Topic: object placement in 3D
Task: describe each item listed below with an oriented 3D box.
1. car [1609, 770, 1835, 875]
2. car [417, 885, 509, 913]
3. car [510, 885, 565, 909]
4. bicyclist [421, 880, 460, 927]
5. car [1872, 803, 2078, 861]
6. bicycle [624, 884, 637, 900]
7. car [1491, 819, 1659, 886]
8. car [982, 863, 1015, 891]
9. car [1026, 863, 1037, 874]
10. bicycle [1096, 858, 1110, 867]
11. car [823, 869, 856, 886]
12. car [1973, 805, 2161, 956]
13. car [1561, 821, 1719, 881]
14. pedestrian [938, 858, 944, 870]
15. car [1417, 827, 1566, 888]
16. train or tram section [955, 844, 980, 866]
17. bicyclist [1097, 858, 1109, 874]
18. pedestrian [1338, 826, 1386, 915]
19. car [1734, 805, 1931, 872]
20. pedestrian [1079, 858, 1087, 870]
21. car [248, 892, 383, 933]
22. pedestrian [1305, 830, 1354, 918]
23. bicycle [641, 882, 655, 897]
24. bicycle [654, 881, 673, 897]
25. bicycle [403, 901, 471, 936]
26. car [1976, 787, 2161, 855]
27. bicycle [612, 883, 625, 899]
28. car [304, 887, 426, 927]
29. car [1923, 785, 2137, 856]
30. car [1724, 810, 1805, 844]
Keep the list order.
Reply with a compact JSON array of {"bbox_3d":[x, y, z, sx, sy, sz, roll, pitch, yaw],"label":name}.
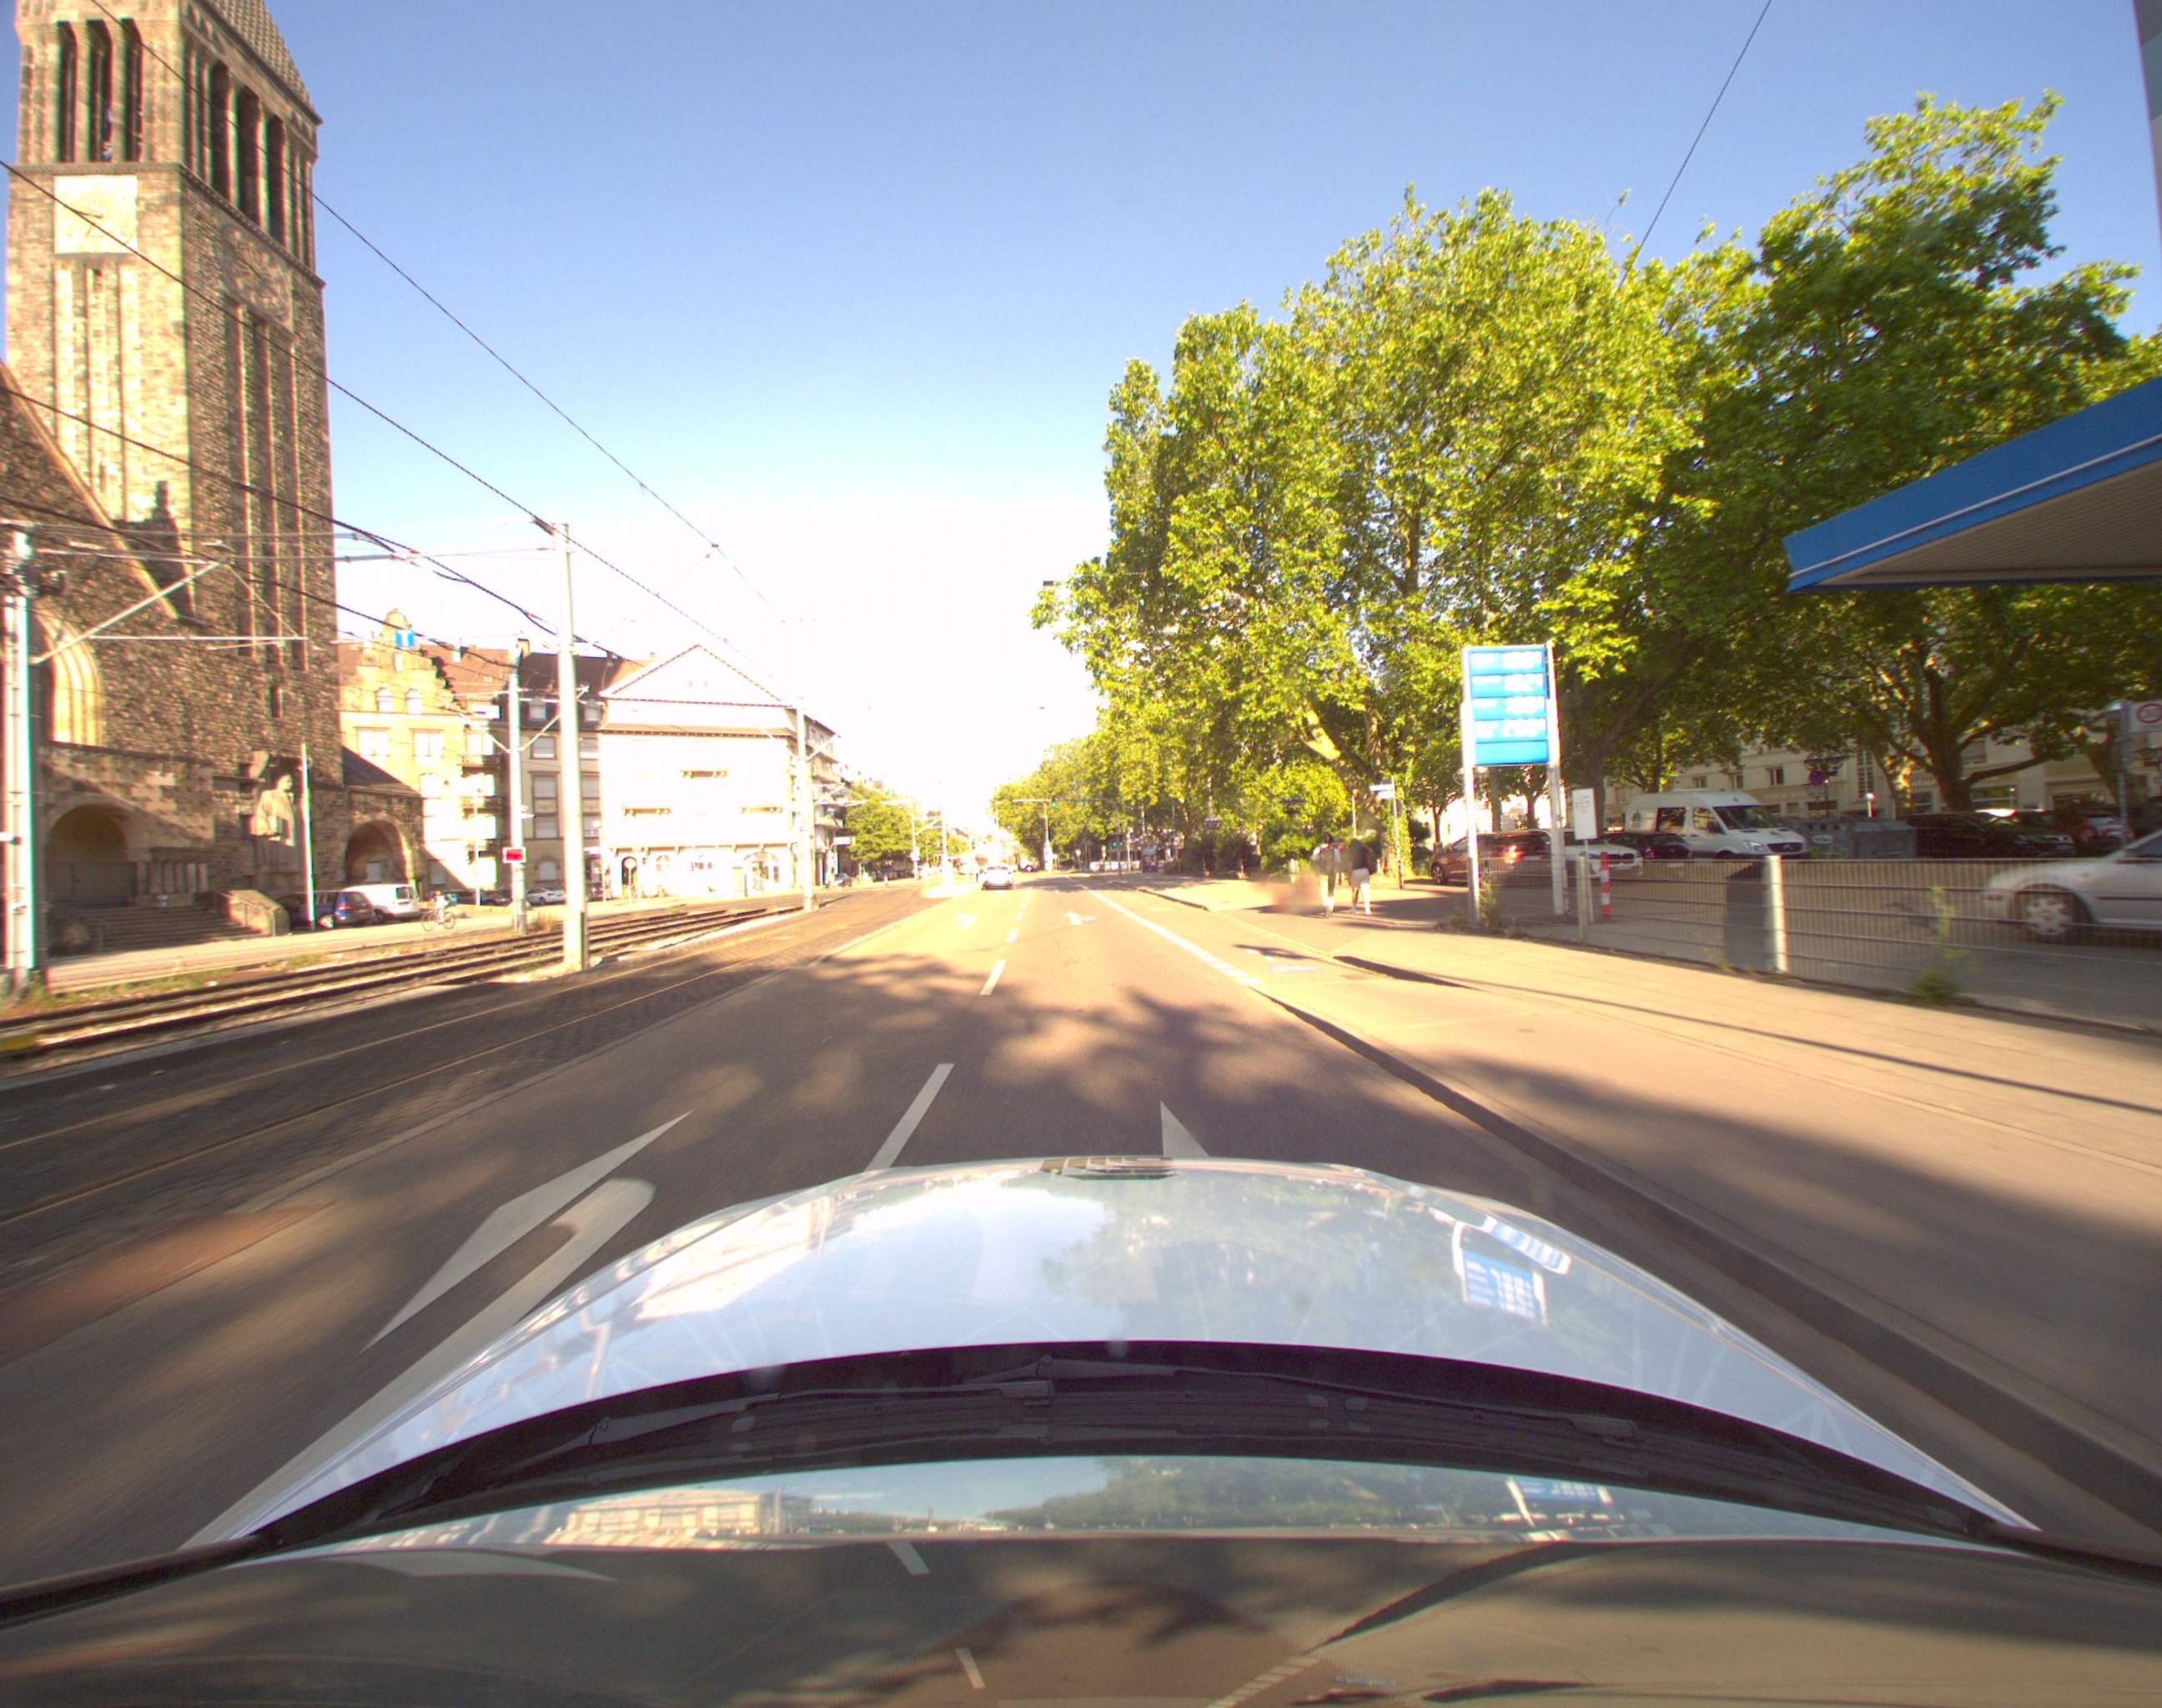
[{"bbox_3d":[19.735,-0.858,25.581,2.236,2.833,5.790,-3,0,-3],"label":"car"},{"bbox_3d":[-43.368,3.145,57.291,4.953,1.753,1.981,0,0,-30],"label":"car"},{"bbox_3d":[-45.216,3.540,67.729,4.539,1.753,2.012,-1,0,31],"label":"car"},{"bbox_3d":[-25.084,1.925,31.914,0.629,1.722,0.916,-5,0,3],"label":"bicyclist"},{"bbox_3d":[27.983,-0.639,25.688,1.739,1.594,3.980,-3,0,-15],"label":"car"},{"bbox_3d":[-39.220,3.310,70.903,0.827,1.283,2.537,0,0,-34],"label":"bicycle"},{"bbox_3d":[14.497,-0.070,24.299,1.856,1.735,4.793,-3,1,-3],"label":"car"},{"bbox_3d":[-4.593,1.236,45.871,1.742,1.462,3.639,0,0,-4],"label":"car"},{"bbox_3d":[-9.580,2.787,157.346,1.989,2.014,3.996,0,0,-3],"label":"car"},{"bbox_3d":[2.482,0.970,91.798,1.199,0.934,2.566,0,0,-9],"label":"bicycle"},{"bbox_3d":[-23.921,2.281,80.925,1.989,1.449,4.835,-4,0,-3],"label":"car"},{"bbox_3d":[11.117,0.211,7.300,1.564,1.430,4.093,-3,0,-4],"label":"car"},{"bbox_3d":[16.700,-0.105,24.587,1.856,1.570,3.996,-3,1,-3],"label":"car"},{"bbox_3d":[-20.628,1.457,119.962,0.962,1.833,0.987,0,0,-10],"label":"pedestrian"},{"bbox_3d":[12.337,0.074,24.899,1.815,1.602,4.653,-3,1,-6],"label":"car"},{"bbox_3d":[-17.844,0.172,128.831,2.945,3.410,10.779,0,0,-3],"label":"train or tram section"},{"bbox_3d":[2.468,1.360,91.833,1.198,1.696,0.901,0,0,-9],"label":"bicyclist"},{"bbox_3d":[5.918,0.338,17.168,0.601,1.776,0.690,-6,-1,0],"label":"pedestrian"},{"bbox_3d":[22.293,-0.412,24.395,1.990,1.739,3.993,-3,0,-5],"label":"car"},{"bbox_3d":[0.268,1.133,95.417,0.653,1.388,0.837,-1,-1,29],"label":"pedestrian"},{"bbox_3d":[-33.136,2.509,35.347,3.975,1.629,1.894,0,0,-1],"label":"car"},{"bbox_3d":[5.285,0.410,17.378,0.601,1.776,0.879,-6,-1,0],"label":"pedestrian"},{"bbox_3d":[-37.912,3.098,71.325,0.825,1.283,2.546,0,0,-22],"label":"bicycle"},{"bbox_3d":[-37.029,3.095,72.320,0.822,1.283,2.554,0,0,-11],"label":"bicycle"},{"bbox_3d":[-25.048,2.491,31.742,0.629,1.144,2.281,-5,0,4],"label":"bicycle"},{"bbox_3d":[33.020,-1.042,26.988,1.997,2.013,3.979,-3,0,-15],"label":"car"},{"bbox_3d":[-39.981,3.171,70.391,0.827,1.283,2.537,0,0,-34],"label":"bicycle"},{"bbox_3d":[-33.529,2.455,38.211,3.975,1.756,1.894,0,0,-1],"label":"car"},{"bbox_3d":[30.385,-1.010,26.263,1.997,2.013,3.979,-3,0,-15],"label":"car"},{"bbox_3d":[54.675,-2.164,65.160,5.060,2.626,2.054,0,0,-7],"label":"car"}]
